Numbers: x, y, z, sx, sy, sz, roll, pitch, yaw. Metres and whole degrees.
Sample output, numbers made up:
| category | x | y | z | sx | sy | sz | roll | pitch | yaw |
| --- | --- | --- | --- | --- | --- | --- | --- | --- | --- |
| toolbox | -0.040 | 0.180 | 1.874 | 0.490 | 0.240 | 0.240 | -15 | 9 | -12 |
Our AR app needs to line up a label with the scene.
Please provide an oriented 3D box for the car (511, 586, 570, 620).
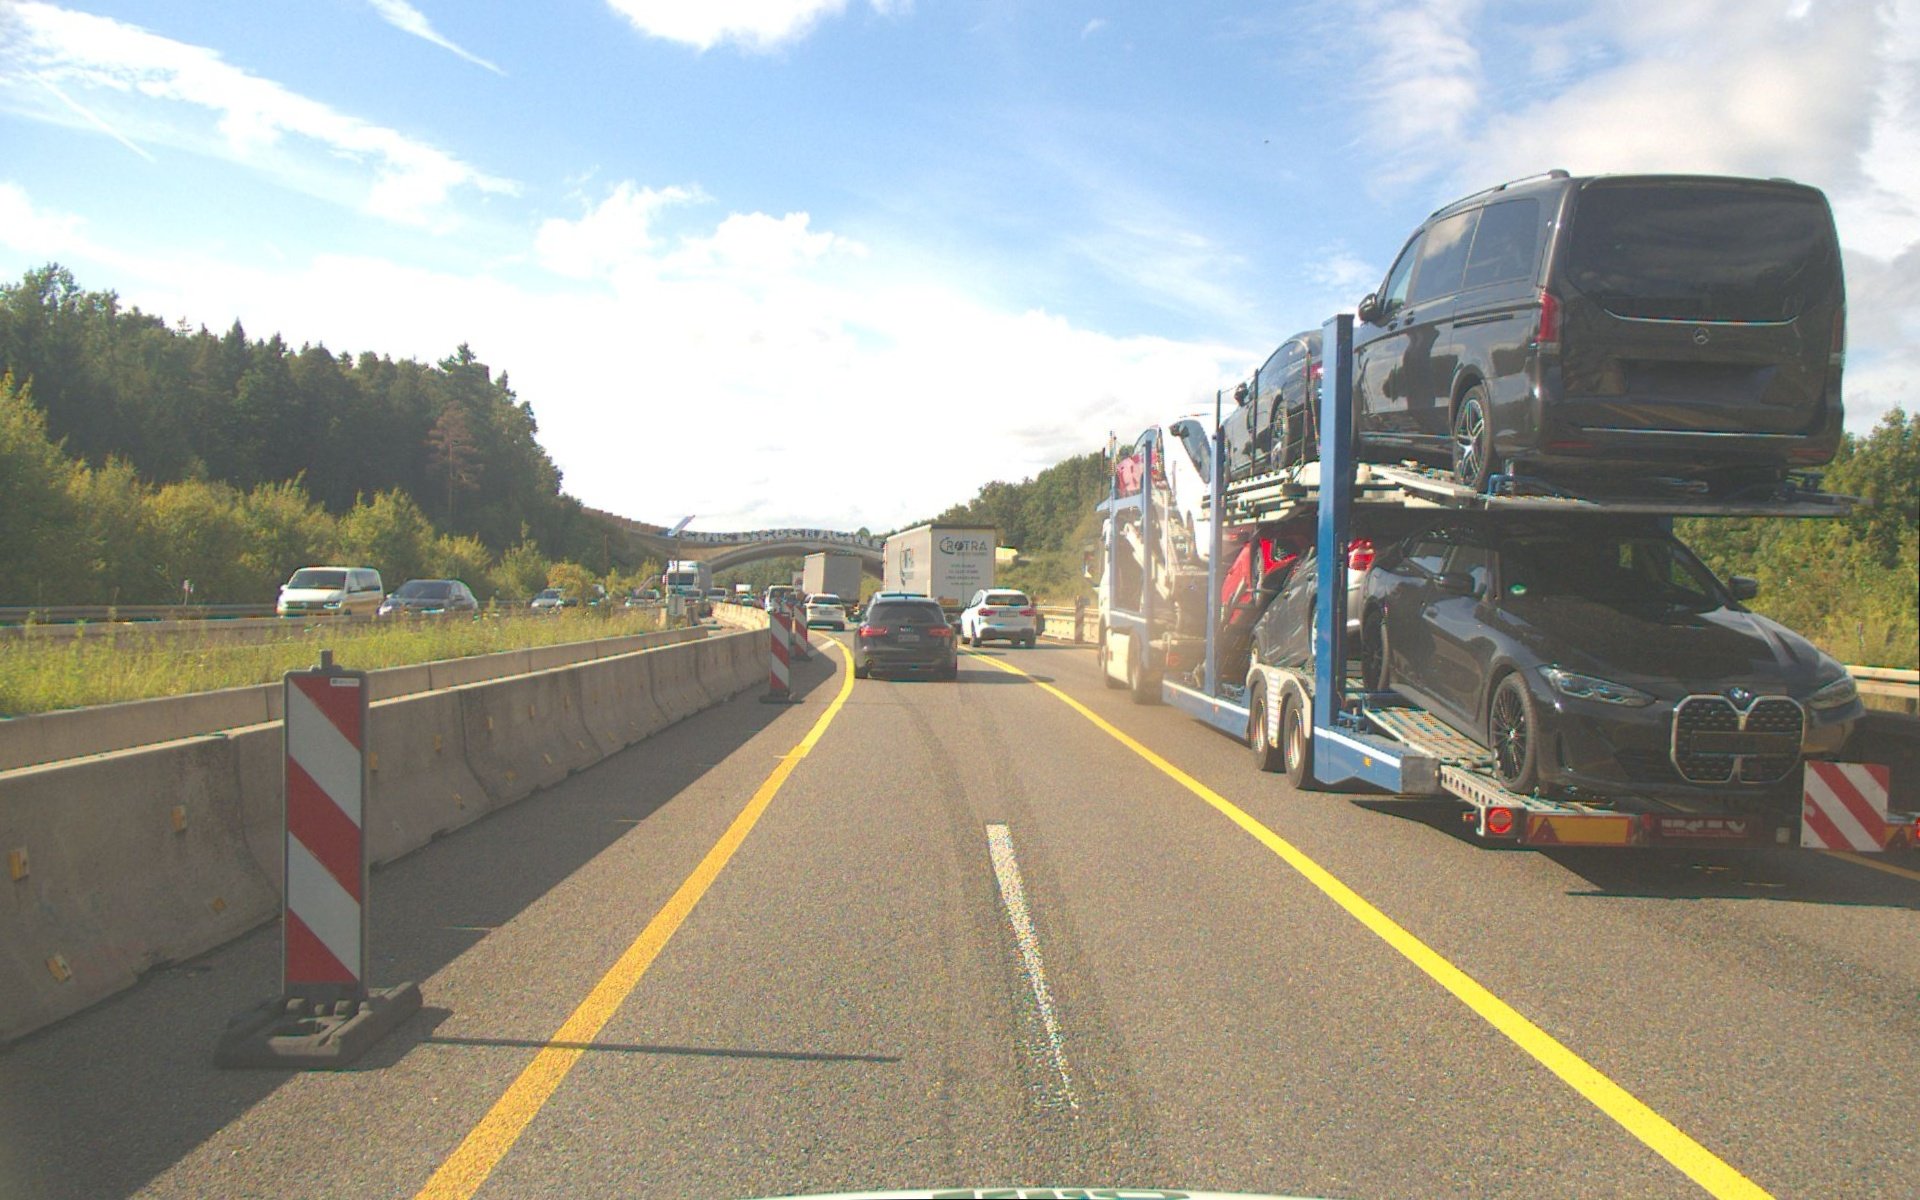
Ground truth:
| category | x | y | z | sx | sy | sz | roll | pitch | yaw |
| --- | --- | --- | --- | --- | --- | --- | --- | --- | --- |
| car | -20.718 | 0.144 | 81.874 | 1.929 | 1.630 | 4.944 | 1 | 0 | -4 |

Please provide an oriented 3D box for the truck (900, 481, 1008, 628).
| category | x | y | z | sx | sy | sz | roll | pitch | yaw |
| --- | --- | --- | --- | --- | --- | --- | --- | --- | --- |
| truck | -0.519 | -1.726 | 69.989 | 3.604 | 5.447 | 16.189 | 1 | 0 | -3 |

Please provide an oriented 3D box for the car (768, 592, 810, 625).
| category | x | y | z | sx | sy | sz | roll | pitch | yaw |
| --- | --- | --- | --- | --- | --- | --- | --- | --- | --- |
| car | -8.861 | 0.418 | 85.478 | 1.856 | 1.672 | 4.009 | 1 | 0 | -10 |

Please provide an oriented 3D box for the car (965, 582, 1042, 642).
| category | x | y | z | sx | sy | sz | roll | pitch | yaw |
| --- | --- | --- | --- | --- | --- | --- | --- | --- | --- |
| car | 1.252 | 0.334 | 49.151 | 1.853 | 1.672 | 4.014 | 1 | 0 | -5 |

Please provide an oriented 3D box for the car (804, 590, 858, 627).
| category | x | y | z | sx | sy | sz | roll | pitch | yaw |
| --- | --- | --- | --- | --- | --- | --- | --- | --- | --- |
| car | -5.386 | 0.322 | 68.724 | 1.856 | 1.472 | 3.991 | 1 | 0 | -10 |

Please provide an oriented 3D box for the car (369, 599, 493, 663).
| category | x | y | z | sx | sy | sz | roll | pitch | yaw |
| --- | --- | --- | --- | --- | --- | --- | --- | --- | --- |
| car | -14.615 | 0.821 | 45.974 | 1.928 | 1.630 | 4.946 | 1 | 0 | -1 |

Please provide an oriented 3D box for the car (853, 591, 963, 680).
| category | x | y | z | sx | sy | sz | roll | pitch | yaw |
| --- | --- | --- | --- | --- | --- | --- | --- | --- | --- |
| car | -0.944 | 0.595 | 30.090 | 1.852 | 1.472 | 3.999 | 1 | 0 | -2 |

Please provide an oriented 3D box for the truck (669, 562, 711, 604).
| category | x | y | z | sx | sy | sz | roll | pitch | yaw |
| --- | --- | --- | --- | --- | --- | --- | --- | --- | --- |
| truck | -22.550 | -1.405 | 138.409 | 2.701 | 3.356 | 5.812 | 1 | 0 | -1 |

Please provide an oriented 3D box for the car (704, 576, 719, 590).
| category | x | y | z | sx | sy | sz | roll | pitch | yaw |
| --- | --- | --- | --- | --- | --- | --- | --- | --- | --- |
| car | -32.882 | -2.229 | 219.021 | 1.745 | 1.899 | 3.996 | 1 | 0 | -5 |

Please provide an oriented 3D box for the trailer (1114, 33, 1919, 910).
| category | x | y | z | sx | sy | sz | roll | pitch | yaw |
| --- | --- | --- | --- | --- | --- | --- | --- | --- | --- |
| trailer | 4.171 | -0.641 | 16.254 | 3.650 | 4.269 | 16.226 | 1 | 0 | 0 |

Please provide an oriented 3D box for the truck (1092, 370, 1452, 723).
| category | x | y | z | sx | sy | sz | roll | pitch | yaw |
| --- | --- | --- | --- | --- | --- | --- | --- | --- | --- |
| truck | 4.140 | -0.664 | 24.223 | 3.684 | 4.269 | 7.950 | 1 | 0 | 0 |

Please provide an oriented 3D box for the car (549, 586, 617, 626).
| category | x | y | z | sx | sy | sz | roll | pitch | yaw |
| --- | --- | --- | --- | --- | --- | --- | --- | --- | --- |
| car | -16.159 | 0.249 | 71.104 | 1.928 | 1.630 | 4.945 | 1 | 0 | -2 |

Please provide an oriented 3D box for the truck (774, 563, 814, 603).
| category | x | y | z | sx | sy | sz | roll | pitch | yaw |
| --- | --- | --- | --- | --- | --- | --- | --- | --- | --- |
| truck | -17.457 | -1.771 | 173.422 | 3.586 | 3.997 | 11.045 | 1 | 0 | -9 |

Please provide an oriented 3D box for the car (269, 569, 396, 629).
| category | x | y | z | sx | sy | sz | roll | pitch | yaw |
| --- | --- | --- | --- | --- | --- | --- | --- | --- | --- |
| car | -18.397 | -0.038 | 48.751 | 1.928 | 1.630 | 4.946 | 1 | 0 | -1 |

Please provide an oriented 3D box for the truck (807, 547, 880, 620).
| category | x | y | z | sx | sy | sz | roll | pitch | yaw |
| --- | --- | --- | --- | --- | --- | --- | --- | --- | --- |
| truck | -8.053 | -1.100 | 112.477 | 4.238 | 4.681 | 11.105 | 1 | 0 | -8 |
